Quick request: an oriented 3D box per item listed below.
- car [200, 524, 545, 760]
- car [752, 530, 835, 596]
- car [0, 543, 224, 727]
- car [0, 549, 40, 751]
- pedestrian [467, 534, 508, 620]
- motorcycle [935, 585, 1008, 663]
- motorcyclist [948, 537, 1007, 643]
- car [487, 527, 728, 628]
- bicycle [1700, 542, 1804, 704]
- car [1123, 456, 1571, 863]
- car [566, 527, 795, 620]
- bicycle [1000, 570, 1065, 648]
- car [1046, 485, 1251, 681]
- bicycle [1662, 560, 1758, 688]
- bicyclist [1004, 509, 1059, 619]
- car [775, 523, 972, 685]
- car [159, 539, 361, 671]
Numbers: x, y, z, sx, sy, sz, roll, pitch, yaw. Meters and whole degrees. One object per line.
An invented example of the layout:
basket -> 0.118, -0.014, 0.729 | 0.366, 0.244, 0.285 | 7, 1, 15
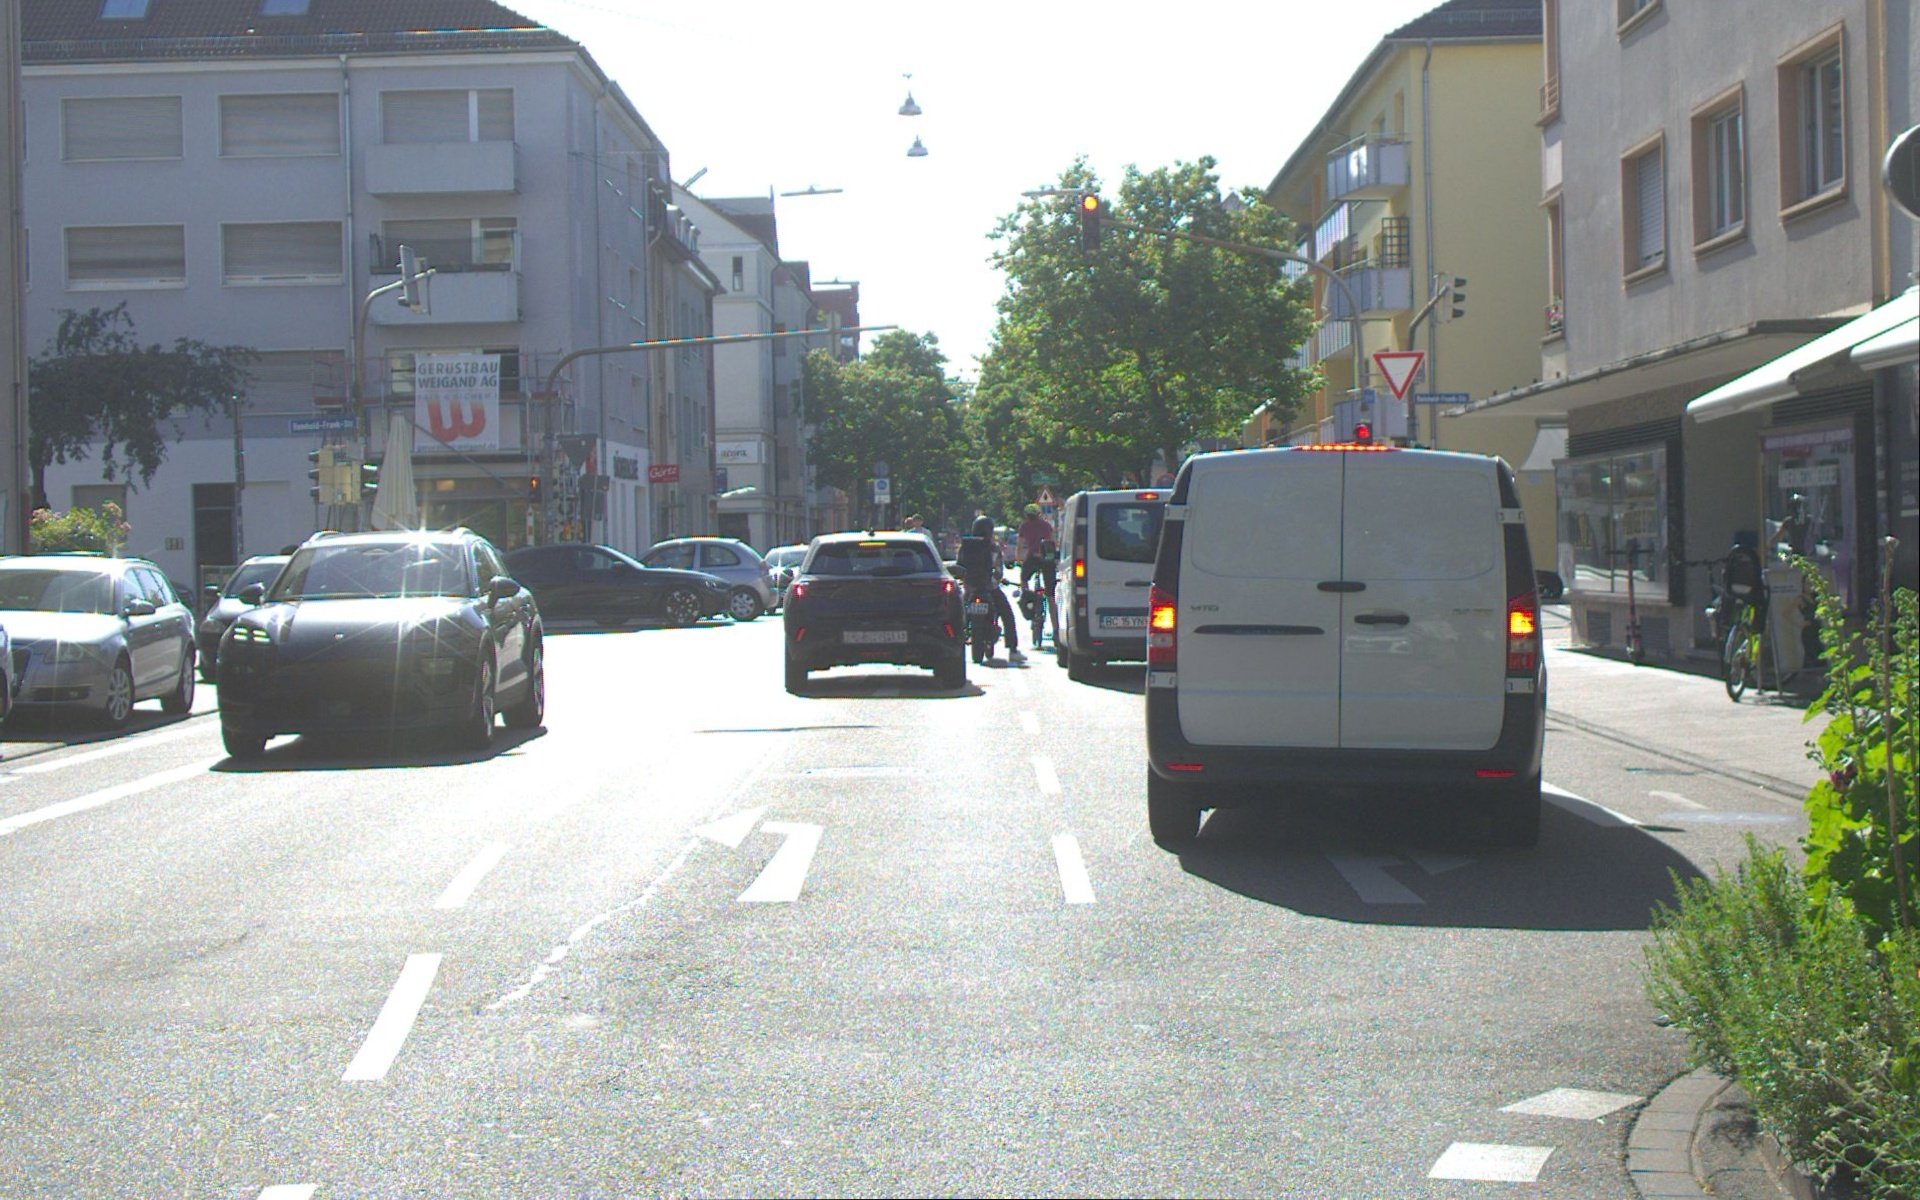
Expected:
car -> -4.377, 0.256, 26.282 | 1.867, 1.608, 4.428 | -1, 1, 0
car -> -3.605, -0.817, 74.988 | 1.618, 1.393, 3.731 | 0, 1, 0
car -> -7.963, 0.250, 30.695 | 1.776, 1.464, 4.760 | 2, 1, -1
car -> -8.016, 0.379, 24.359 | 1.721, 1.491, 4.626 | 2, 1, 0
pedestrian -> -9.209, -0.459, 67.040 | 0.683, 1.658, 0.601 | -1, 1, -1
motorcycle -> 0.124, 0.275, 40.471 | 0.807, 0.860, 1.823 | -1, 1, -1
motorcyclist -> 0.204, -0.124, 40.470 | 0.658, 1.223, 0.694 | -1, 1, -1
car -> -6.003, -0.394, 58.859 | 3.986, 1.634, 2.000 | -1, 1, -3
bicycle -> 6.499, 0.175, 28.263 | 0.475, 1.270, 1.218 | -4, 1, 0
car -> 2.023, 0.230, 17.737 | 1.985, 1.816, 4.545 | -1, 1, 7
car -> -5.011, -0.482, 62.098 | 3.987, 1.480, 1.728 | -1, 5, -1
bicycle -> 0.962, 0.112, 45.958 | 0.775, 0.989, 1.717 | -1, 1, -1
car -> 1.942, -0.215, 36.626 | 1.815, 1.914, 4.644 | -1, 1, -1
bicycle -> 6.863, 0.205, 31.506 | 0.523, 1.115, 1.534 | -1, 1, 0
bicyclist -> 0.959, -0.486, 46.103 | 0.683, 1.444, 0.940 | -1, 1, -1
car -> -0.864, 0.002, 34.677 | 1.844, 1.502, 4.000 | -1, 1, -1
car -> -8.313, 0.022, 41.107 | 1.653, 1.474, 4.000 | 1, 1, -1
